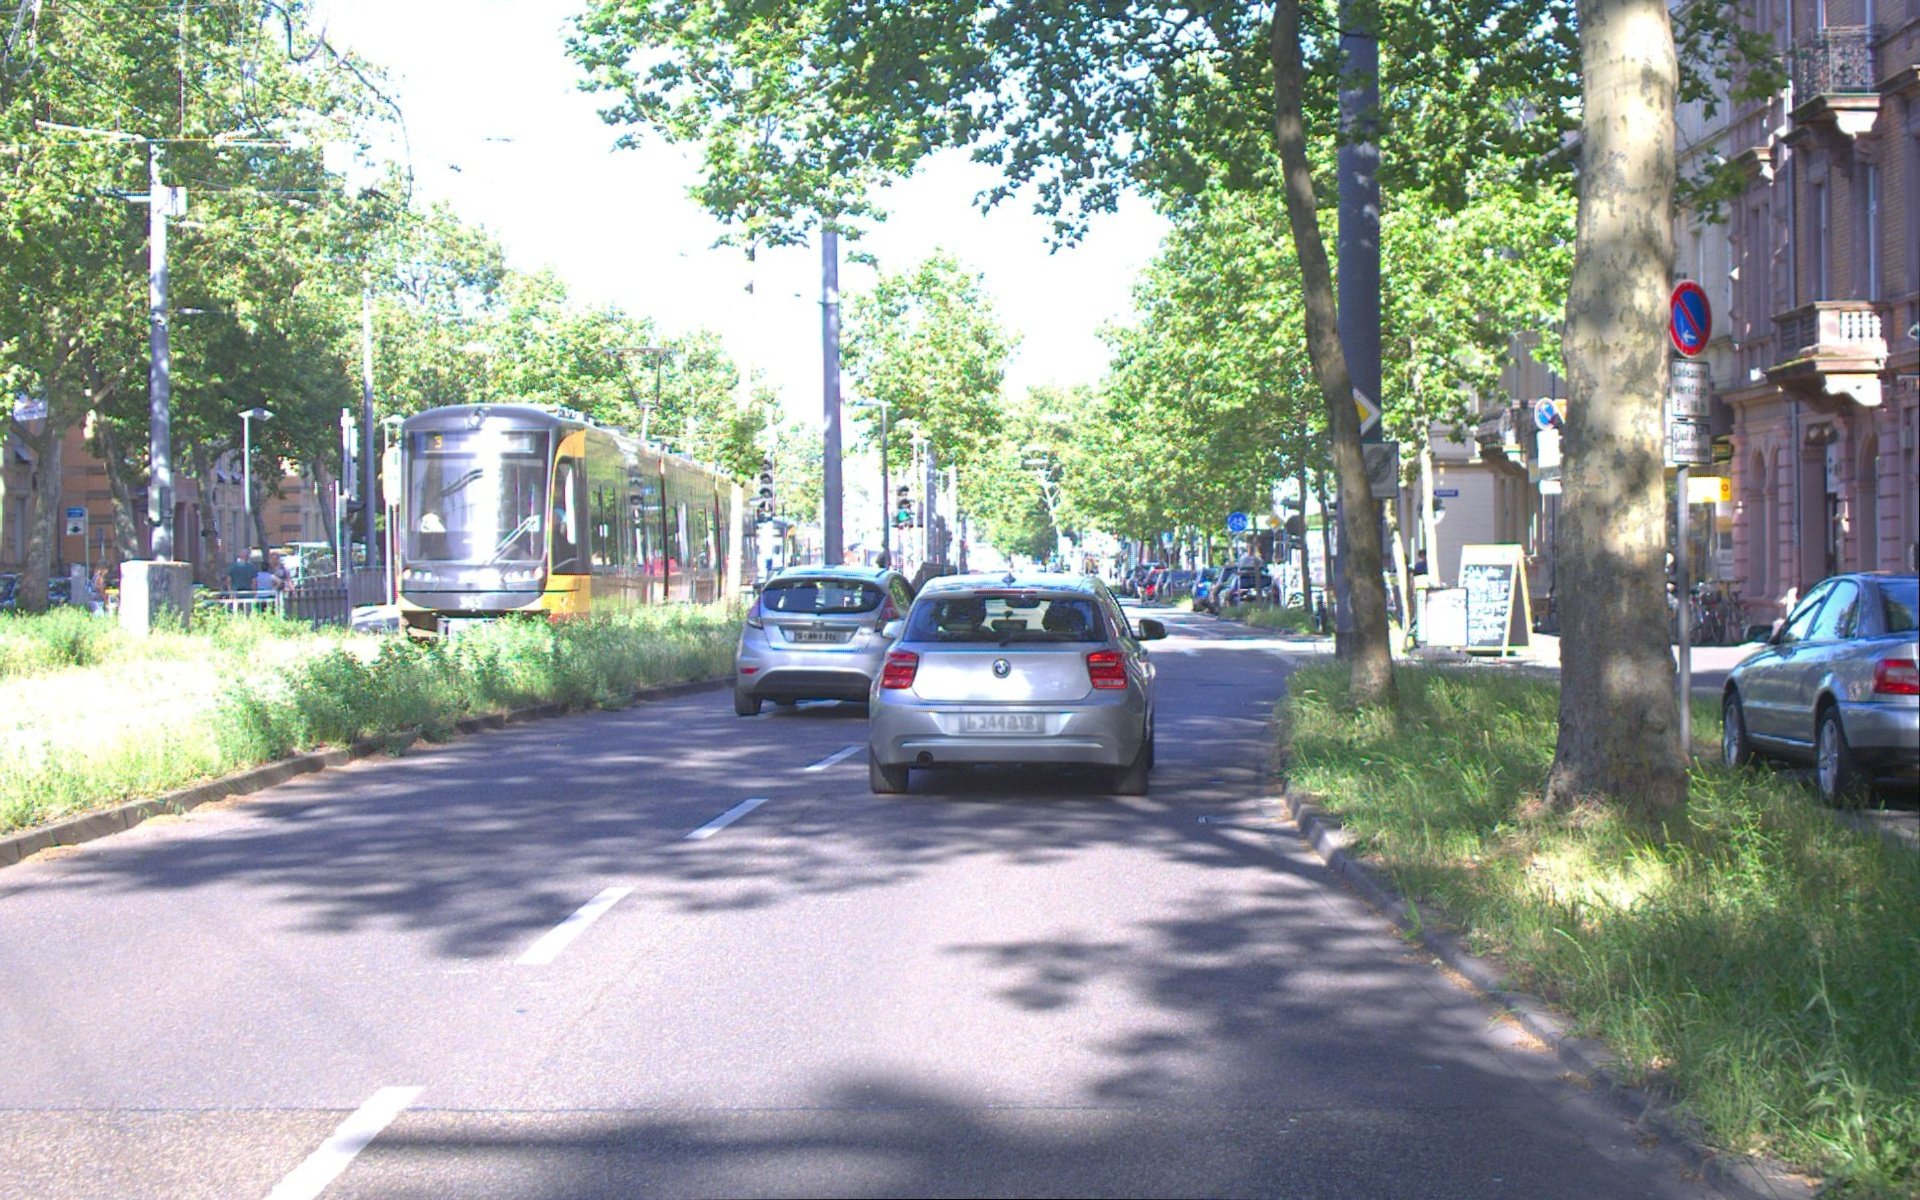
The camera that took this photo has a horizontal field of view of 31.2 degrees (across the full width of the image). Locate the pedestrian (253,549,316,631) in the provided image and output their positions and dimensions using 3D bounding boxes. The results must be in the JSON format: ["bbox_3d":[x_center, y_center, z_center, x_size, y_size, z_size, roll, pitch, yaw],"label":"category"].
[{"bbox_3d":[-13.552,-0.210,68.995,1.176,1.638,0.893,0,0,-6],"label":"pedestrian"}]

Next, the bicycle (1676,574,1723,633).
[{"bbox_3d":[13.098,0.046,60.898,0.443,0.990,1.689,2,1,0],"label":"bicycle"}]

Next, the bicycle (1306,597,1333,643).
[{"bbox_3d":[8.012,0.432,76.650,0.428,0.967,1.750,2,1,1],"label":"bicycle"}]

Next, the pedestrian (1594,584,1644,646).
[{"bbox_3d":[12.576,0.280,65.569,0.771,1.157,0.469,1,1,-24],"label":"pedestrian"}]

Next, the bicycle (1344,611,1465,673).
[{"bbox_3d":[7.666,0.720,59.316,2.014,0.990,0.444,2,1,-1],"label":"bicycle"}]

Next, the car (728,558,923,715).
[{"bbox_3d":[-1.260,0.316,33.648,1.647,1.358,3.760,2,1,1],"label":"car"}]

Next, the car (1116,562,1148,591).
[{"bbox_3d":[9.911,-1.353,197.975,1.700,1.529,3.717,2,1,1],"label":"car"}]

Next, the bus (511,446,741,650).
[{"bbox_3d":[-6.023,-0.962,64.117,2.869,3.432,12.214,0,1,1],"label":"bus"}]

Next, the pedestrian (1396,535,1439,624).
[{"bbox_3d":[10.564,-0.482,79.451,0.882,2.007,0.856,2,1,4],"label":"pedestrian"}]

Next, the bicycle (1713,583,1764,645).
[{"bbox_3d":[13.124,0.230,57.947,0.443,0.990,1.689,2,1,0],"label":"bicycle"}]

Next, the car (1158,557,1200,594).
[{"bbox_3d":[9.922,-1.119,156.019,1.669,1.546,4.000,2,1,1],"label":"car"}]

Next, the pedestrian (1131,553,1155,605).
[{"bbox_3d":[7.171,-0.809,134.951,0.838,2.007,0.648,2,1,8],"label":"pedestrian"}]

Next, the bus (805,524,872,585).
[{"bbox_3d":[-7.504,-2.951,215.765,2.869,3.616,24.603,0,1,1],"label":"bus"}]

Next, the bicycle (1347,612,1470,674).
[{"bbox_3d":[7.654,0.732,58.711,2.003,0.990,0.444,2,1,-1],"label":"bicycle"}]

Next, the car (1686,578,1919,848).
[{"bbox_3d":[5.878,0.635,21.444,1.700,1.419,4.517,2,1,0],"label":"car"}]

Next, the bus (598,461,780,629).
[{"bbox_3d":[-5.845,-1.208,76.035,2.869,3.432,11.611,0,1,1],"label":"bus"}]

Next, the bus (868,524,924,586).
[{"bbox_3d":[-3.883,-2.848,212.867,2.750,3.613,18.847,0,1,1],"label":"bus"}]

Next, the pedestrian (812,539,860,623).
[{"bbox_3d":[-2.833,-0.445,78.856,1.072,1.909,1.127,0,1,-1],"label":"pedestrian"}]

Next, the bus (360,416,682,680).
[{"bbox_3d":[-6.244,-0.767,51.314,2.869,3.432,13.217,0,1,1],"label":"bus"}]

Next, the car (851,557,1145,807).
[{"bbox_3d":[0.234,0.477,23.047,1.762,1.427,4.000,2,1,0],"label":"car"}]

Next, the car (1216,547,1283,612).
[{"bbox_3d":[9.158,-0.664,108.931,1.754,1.958,4.737,0,1,1],"label":"car"}]

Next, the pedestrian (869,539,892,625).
[{"bbox_3d":[-1.771,-0.407,76.584,0.450,1.896,0.585,0,1,-6],"label":"pedestrian"}]

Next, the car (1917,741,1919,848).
[{"bbox_3d":[5.501,0.516,14.267,1.806,1.484,4.919,2,1,2],"label":"car"}]

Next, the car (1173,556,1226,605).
[{"bbox_3d":[8.623,-0.706,124.064,1.692,1.652,4.039,0,2,1],"label":"car"}]

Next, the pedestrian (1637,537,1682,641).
[{"bbox_3d":[12.398,-0.196,60.935,0.469,1.804,0.772,2,1,32],"label":"pedestrian"}]

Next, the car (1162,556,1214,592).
[{"bbox_3d":[9.957,-1.125,150.447,1.993,1.504,4.597,2,0,1],"label":"car"}]
